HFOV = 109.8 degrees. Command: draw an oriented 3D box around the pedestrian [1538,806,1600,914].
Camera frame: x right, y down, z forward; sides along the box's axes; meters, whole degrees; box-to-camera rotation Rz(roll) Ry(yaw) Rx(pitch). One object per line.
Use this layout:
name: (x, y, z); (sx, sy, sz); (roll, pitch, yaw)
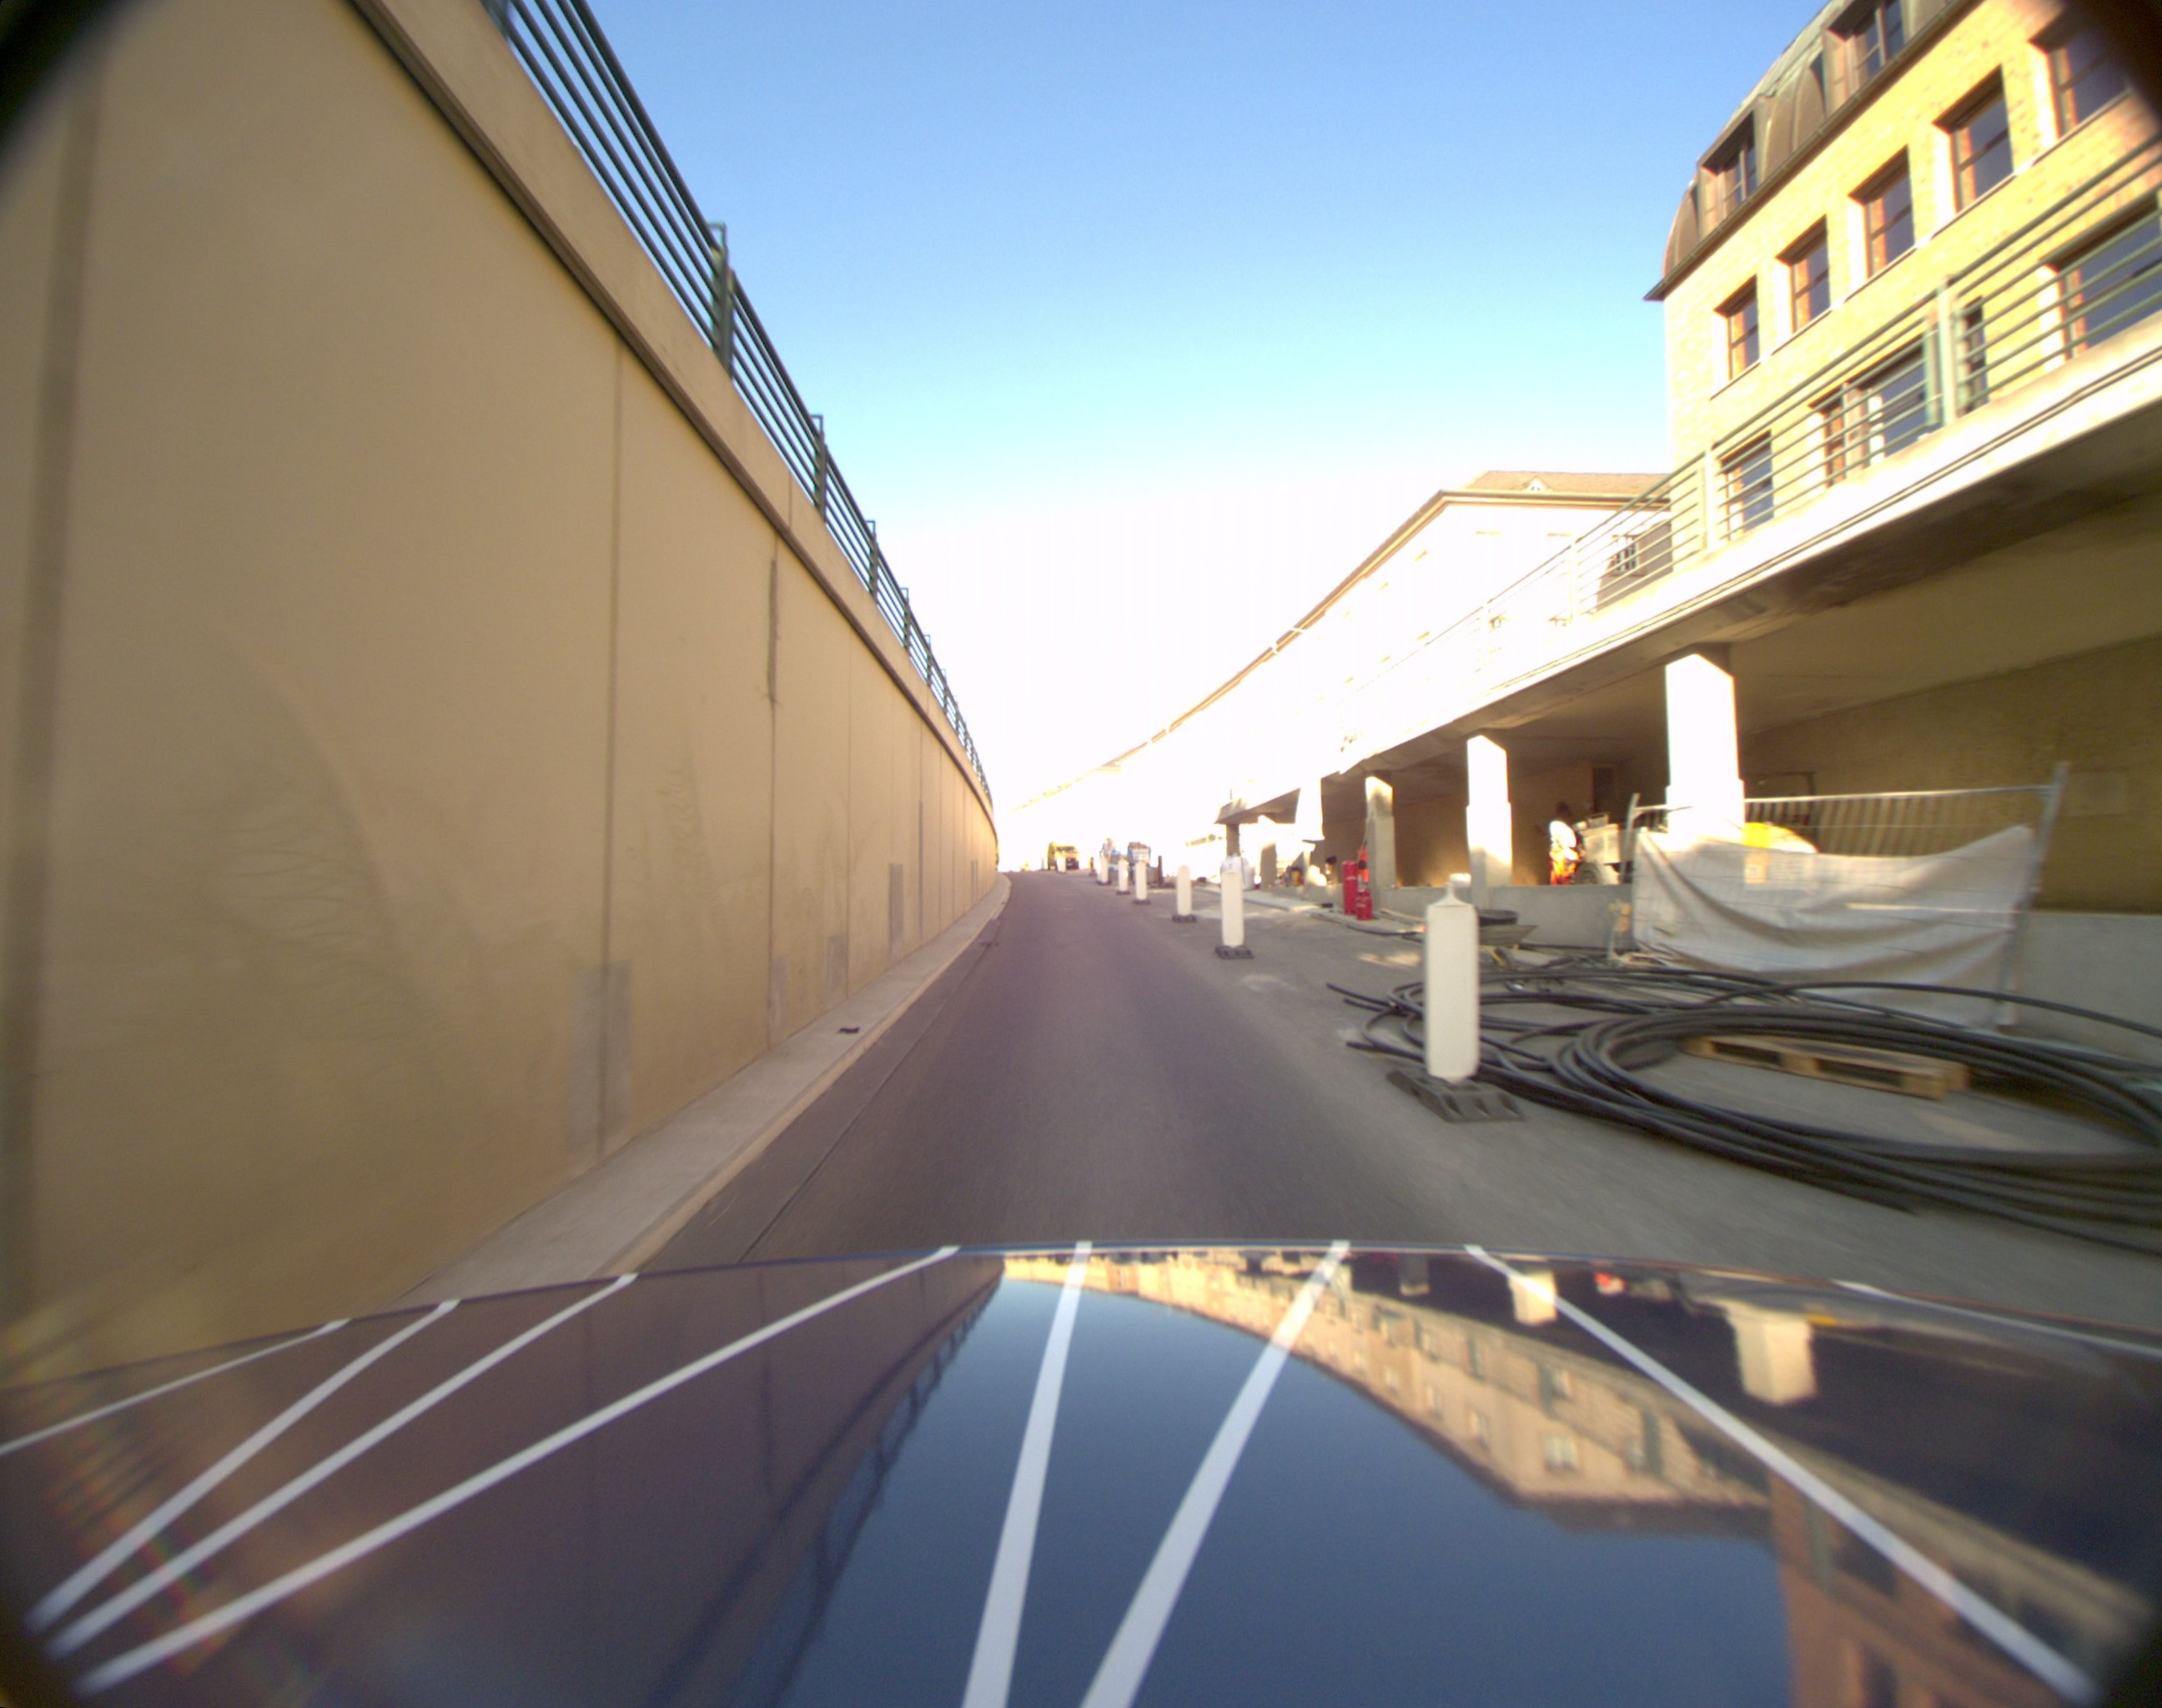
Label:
pedestrian: (8.433, 0.099, 13.143); (0.658, 1.794, 0.625); (-2, 1, 6)

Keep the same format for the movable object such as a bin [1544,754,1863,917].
movable object such as a bin: (8.683, -0.228, 10.975); (1.891, 1.975, 3.157); (-2, 0, -4)

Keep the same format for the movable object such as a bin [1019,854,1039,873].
movable object such as a bin: (-7.477, 1.400, 108.736); (1.798, 2.437, 4.531); (1, -3, -19)

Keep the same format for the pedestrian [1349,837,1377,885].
pedestrian: (9.275, 0.229, 25.012); (0.651, 1.570, 0.630); (-1, 1, -12)

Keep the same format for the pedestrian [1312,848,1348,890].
pedestrian: (8.304, 0.494, 25.403); (0.874, 1.390, 0.782); (-1, 1, -11)

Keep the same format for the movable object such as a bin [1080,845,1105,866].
movable object such as a bin: (1.332, 0.246, 92.397); (2.107, 2.380, 4.304); (1, -2, -12)

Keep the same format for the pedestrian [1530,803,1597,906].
pedestrian: (8.844, 0.007, 13.946); (0.706, 1.804, 0.709); (-2, 1, -4)

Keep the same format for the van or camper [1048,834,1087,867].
van or camper: (-1.233, -0.256, 64.265); (2.201, 2.597, 6.818); (-3, 0, -10)
